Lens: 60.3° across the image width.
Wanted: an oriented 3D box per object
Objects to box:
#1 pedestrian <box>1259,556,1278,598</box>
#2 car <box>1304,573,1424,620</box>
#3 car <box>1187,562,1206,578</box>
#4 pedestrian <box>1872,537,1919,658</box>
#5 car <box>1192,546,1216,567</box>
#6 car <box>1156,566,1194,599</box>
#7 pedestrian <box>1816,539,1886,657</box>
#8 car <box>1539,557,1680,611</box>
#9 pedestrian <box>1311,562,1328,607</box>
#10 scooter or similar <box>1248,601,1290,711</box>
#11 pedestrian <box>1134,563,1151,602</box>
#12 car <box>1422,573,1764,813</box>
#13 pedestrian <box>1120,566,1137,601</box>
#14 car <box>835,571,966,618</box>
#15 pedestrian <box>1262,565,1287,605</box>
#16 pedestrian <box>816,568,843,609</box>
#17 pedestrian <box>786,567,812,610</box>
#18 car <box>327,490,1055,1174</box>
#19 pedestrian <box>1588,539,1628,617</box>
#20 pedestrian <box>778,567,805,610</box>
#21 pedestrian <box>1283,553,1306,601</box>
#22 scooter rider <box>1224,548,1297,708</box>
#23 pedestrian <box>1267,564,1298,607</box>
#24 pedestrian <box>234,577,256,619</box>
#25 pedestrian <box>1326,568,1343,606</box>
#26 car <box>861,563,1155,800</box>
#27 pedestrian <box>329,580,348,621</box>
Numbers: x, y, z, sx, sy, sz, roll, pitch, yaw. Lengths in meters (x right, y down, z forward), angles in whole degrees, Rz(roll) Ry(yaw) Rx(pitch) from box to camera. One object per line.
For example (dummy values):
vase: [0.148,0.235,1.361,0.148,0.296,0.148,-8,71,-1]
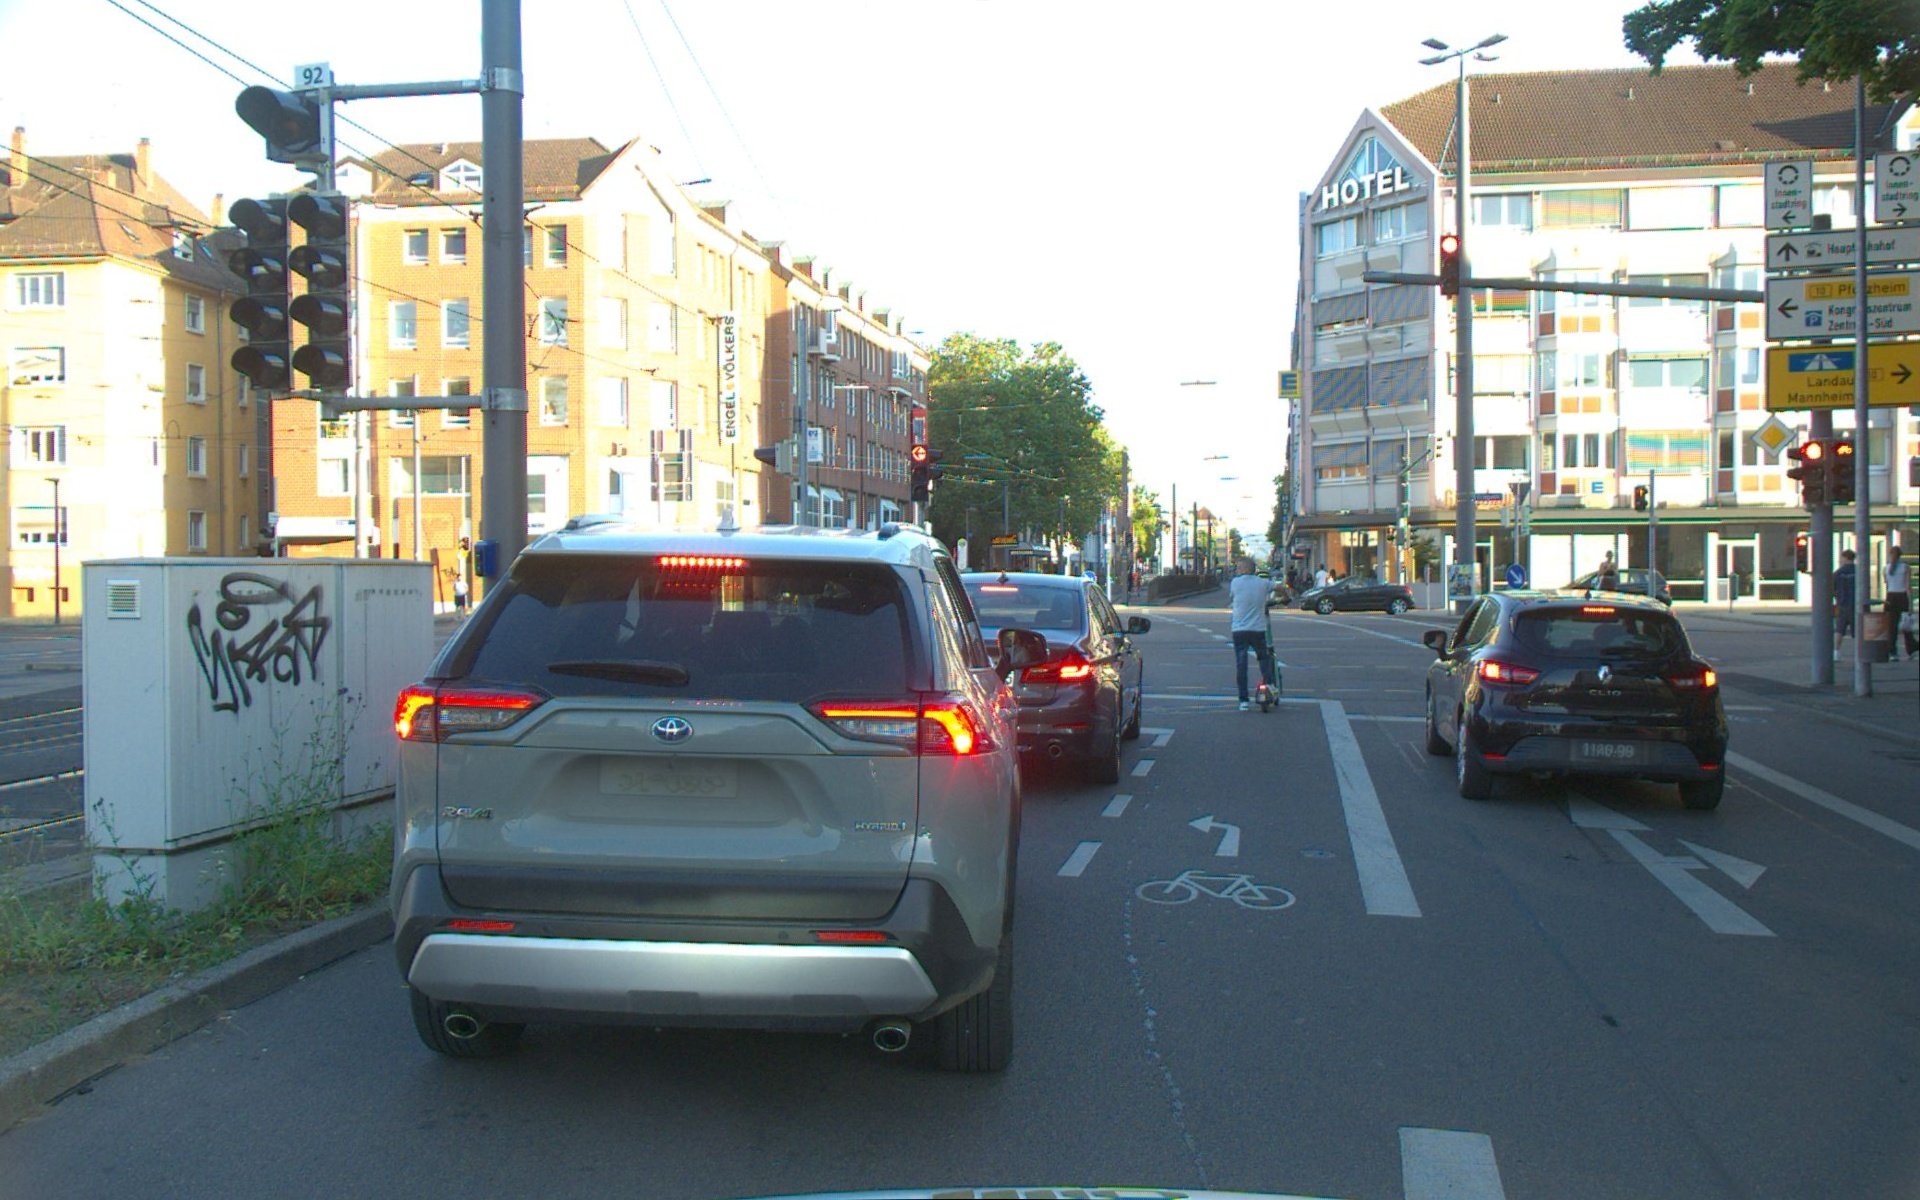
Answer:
pedestrian: [16.508,-1.238,88.491,0.912,2.234,0.853,1,1,8]
car: [14.103,-0.135,57.908,3.902,1.502,2.002,1,1,9]
car: [28.950,-3.712,202.569,1.951,1.892,4.004,1,1,13]
pedestrian: [14.928,-0.051,26.068,0.716,1.862,0.991,2,1,44]
car: [23.370,-4.153,158.451,1.951,1.933,4.004,1,1,12]
car: [12.101,-0.994,92.890,1.773,1.777,3.718,1,1,12]
pedestrian: [14.391,-0.037,26.701,0.716,1.862,0.991,2,1,44]
car: [22.244,-0.544,56.804,4.144,1.725,2.002,1,1,9]
pedestrian: [14.715,-0.642,67.720,0.487,1.805,0.471,-1,1,-27]
scooter or similar: [3.325,0.581,17.766,0.273,1.109,1.258,1,1,17]
pedestrian: [8.892,-0.865,80.443,0.686,1.854,0.809,1,1,12]
car: [4.574,0.552,12.535,1.726,1.465,4.004,1,1,11]
pedestrian: [8.208,-0.799,80.665,0.686,1.693,0.809,1,1,12]
car: [-2.123,-0.214,59.892,4.455,1.648,2.000,1,1,8]
pedestrian: [13.210,-0.640,69.491,0.712,1.651,0.765,-1,1,-27]
pedestrian: [-6.610,-0.589,83.635,1.070,2.048,1.164,1,1,8]
pedestrian: [-7.845,-0.573,80.602,1.070,2.048,0.909,1,1,8]
car: [-0.603,0.504,6.134,1.797,1.664,4.092,1,2,2]
pedestrian: [15.357,-0.525,39.215,0.730,1.809,0.801,1,1,13]
pedestrian: [-8.060,-0.556,79.120,1.070,2.048,0.909,1,1,8]
pedestrian: [17.156,-1.190,84.812,1.061,2.406,1.057,1,1,12]
scooter rider: [3.250,0.286,17.838,0.648,1.675,0.661,1,1,19]
pedestrian: [13.402,-0.585,68.663,0.922,1.756,0.844,1,1,-30]
pedestrian: [-29.731,-0.084,68.781,0.653,1.773,0.689,1,0,-8]
pedestrian: [15.352,-0.528,67.873,0.487,1.529,0.471,-1,1,-27]
car: [0.560,0.479,13.095,1.707,1.486,4.414,1,2,9]
pedestrian: [-25.780,0.015,68.581,0.539,1.671,0.501,1,1,9]
